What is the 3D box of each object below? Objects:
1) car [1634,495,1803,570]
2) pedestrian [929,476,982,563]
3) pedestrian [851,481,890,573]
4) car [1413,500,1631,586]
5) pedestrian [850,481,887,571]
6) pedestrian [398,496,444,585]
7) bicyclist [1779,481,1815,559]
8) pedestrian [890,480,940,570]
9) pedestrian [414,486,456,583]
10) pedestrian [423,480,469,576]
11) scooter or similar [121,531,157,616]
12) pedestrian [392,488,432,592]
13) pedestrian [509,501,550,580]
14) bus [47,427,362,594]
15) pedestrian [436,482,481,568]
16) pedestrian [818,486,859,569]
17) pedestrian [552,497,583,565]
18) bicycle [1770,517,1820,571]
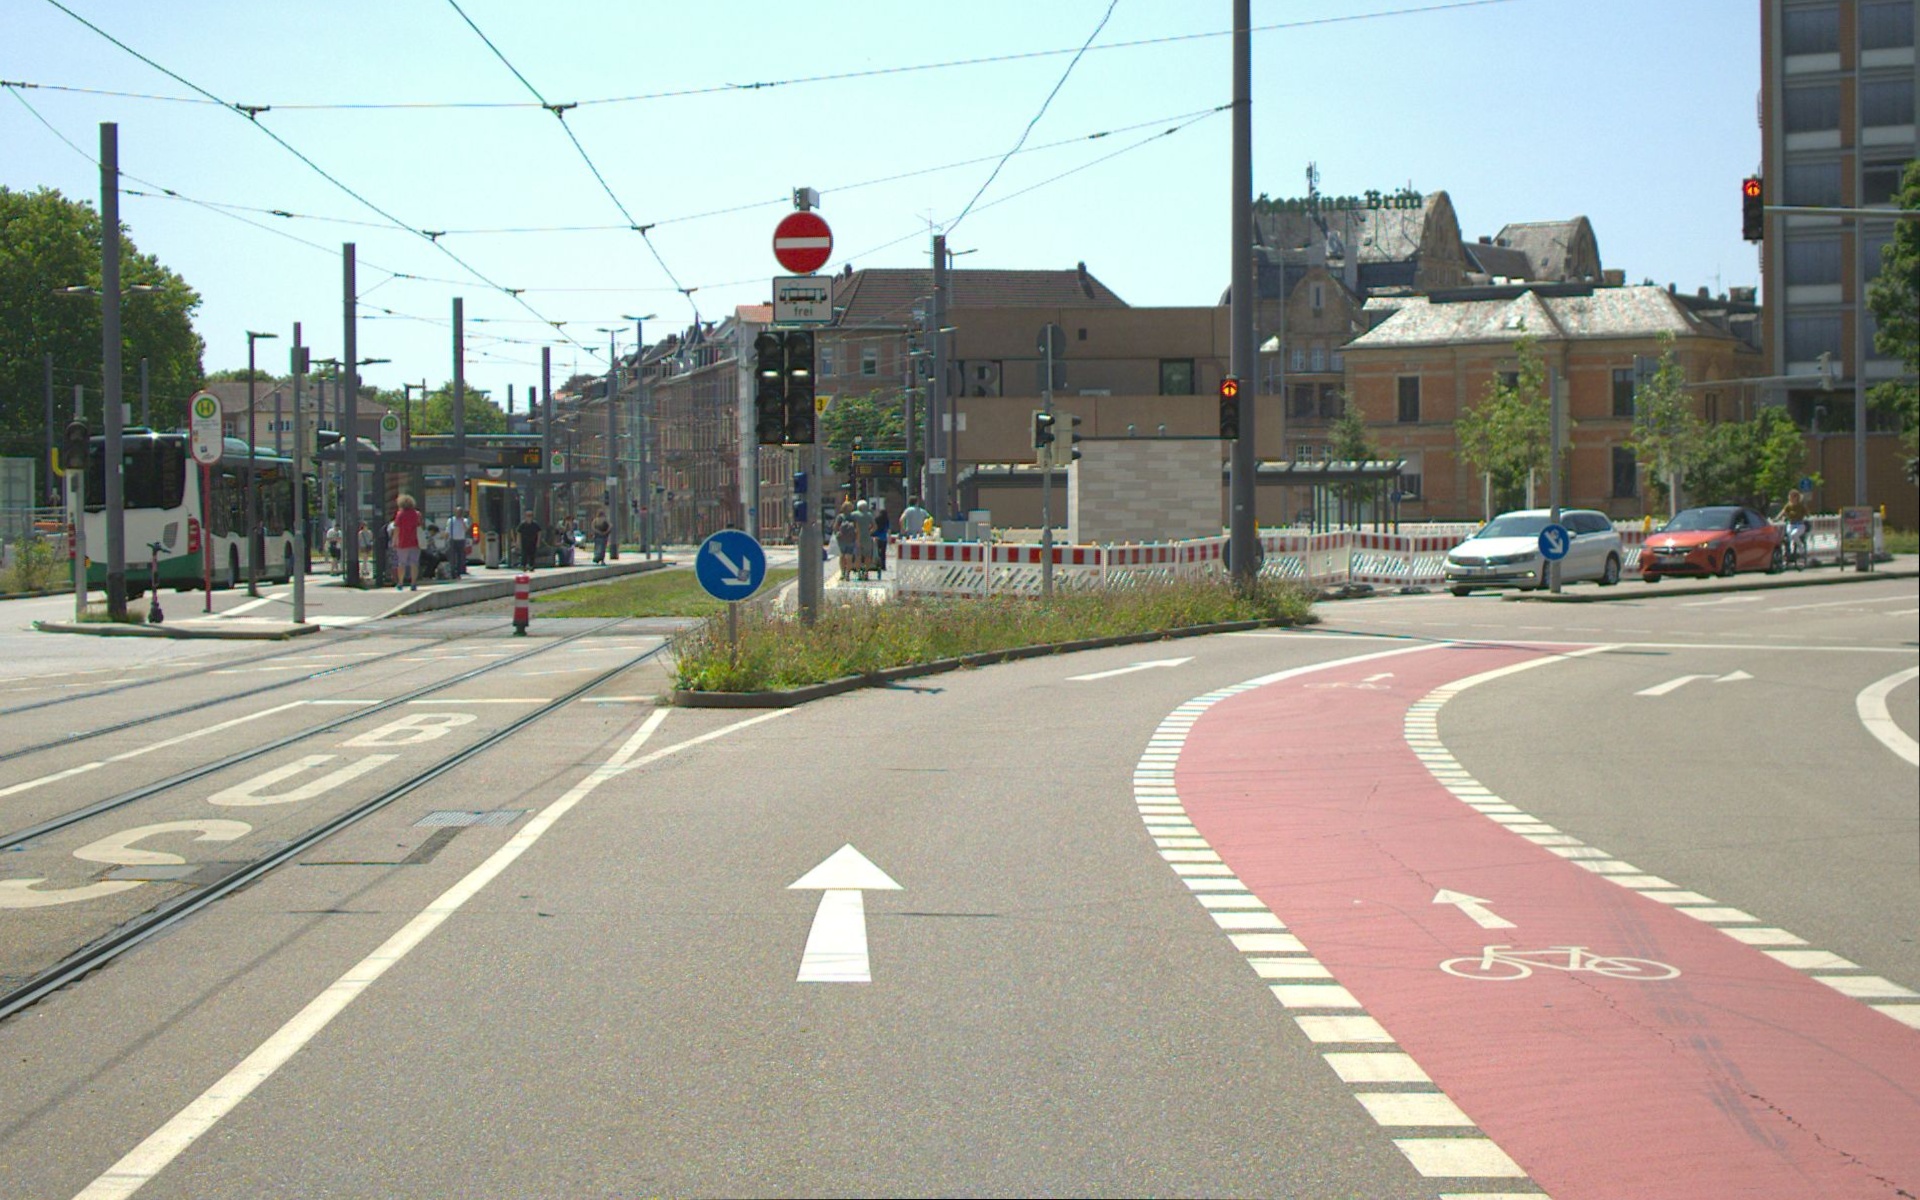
[{"bbox_3d":[14.909,-1.337,67.419,1.735,1.420,4.115,0,2,36],"label":"car"},{"bbox_3d":[-0.094,-1.718,73.073,0.976,1.826,0.634,-2,2,-15],"label":"pedestrian"},{"bbox_3d":[-1.882,-1.524,72.275,0.719,1.917,1.074,0,1,-6],"label":"pedestrian"},{"bbox_3d":[9.931,-1.025,60.494,1.997,1.433,4.696,0,2,34],"label":"car"},{"bbox_3d":[-1.897,-1.540,71.328,0.657,1.825,0.760,-1,2,-8],"label":"pedestrian"},{"bbox_3d":[-11.377,-1.256,72.554,0.911,1.845,0.658,-1,2,-10],"label":"pedestrian"},{"bbox_3d":[18.630,-1.774,76.512,0.568,1.713,0.506,0,2,40],"label":"bicyclist"},{"bbox_3d":[-0.939,-1.569,71.832,0.765,1.858,0.730,-1,1,-42],"label":"pedestrian"},{"bbox_3d":[-11.437,-1.426,74.899,0.823,2.089,0.642,-1,2,-12],"label":"pedestrian"},{"bbox_3d":[-11.334,-1.590,75.771,0.899,2.089,0.832,-1,2,-12],"label":"pedestrian"},{"bbox_3d":[-11.896,-0.393,49.820,0.318,1.202,1.249,-1,2,-6],"label":"scooter or similar"},{"bbox_3d":[-10.114,-1.115,63.485,0.672,1.903,0.641,-1,2,-10],"label":"pedestrian"},{"bbox_3d":[-11.515,-1.587,91.924,0.899,2.089,0.831,-1,2,4],"label":"pedestrian"},{"bbox_3d":[-15.892,-1.928,74.108,3.010,3.147,17.499,-1,1,0],"label":"bus"},{"bbox_3d":[-12.241,-1.833,83.950,0.899,2.089,0.831,-1,2,4],"label":"pedestrian"},{"bbox_3d":[-2.495,-1.483,70.598,0.726,1.701,0.744,0,1,-12],"label":"pedestrian"},{"bbox_3d":[-12.101,-2.129,106.034,0.829,2.089,0.902,-1,2,-2],"label":"pedestrian"},{"bbox_3d":[18.572,-1.246,76.454,0.398,1.170,1.767,0,2,37],"label":"bicycle"}]
